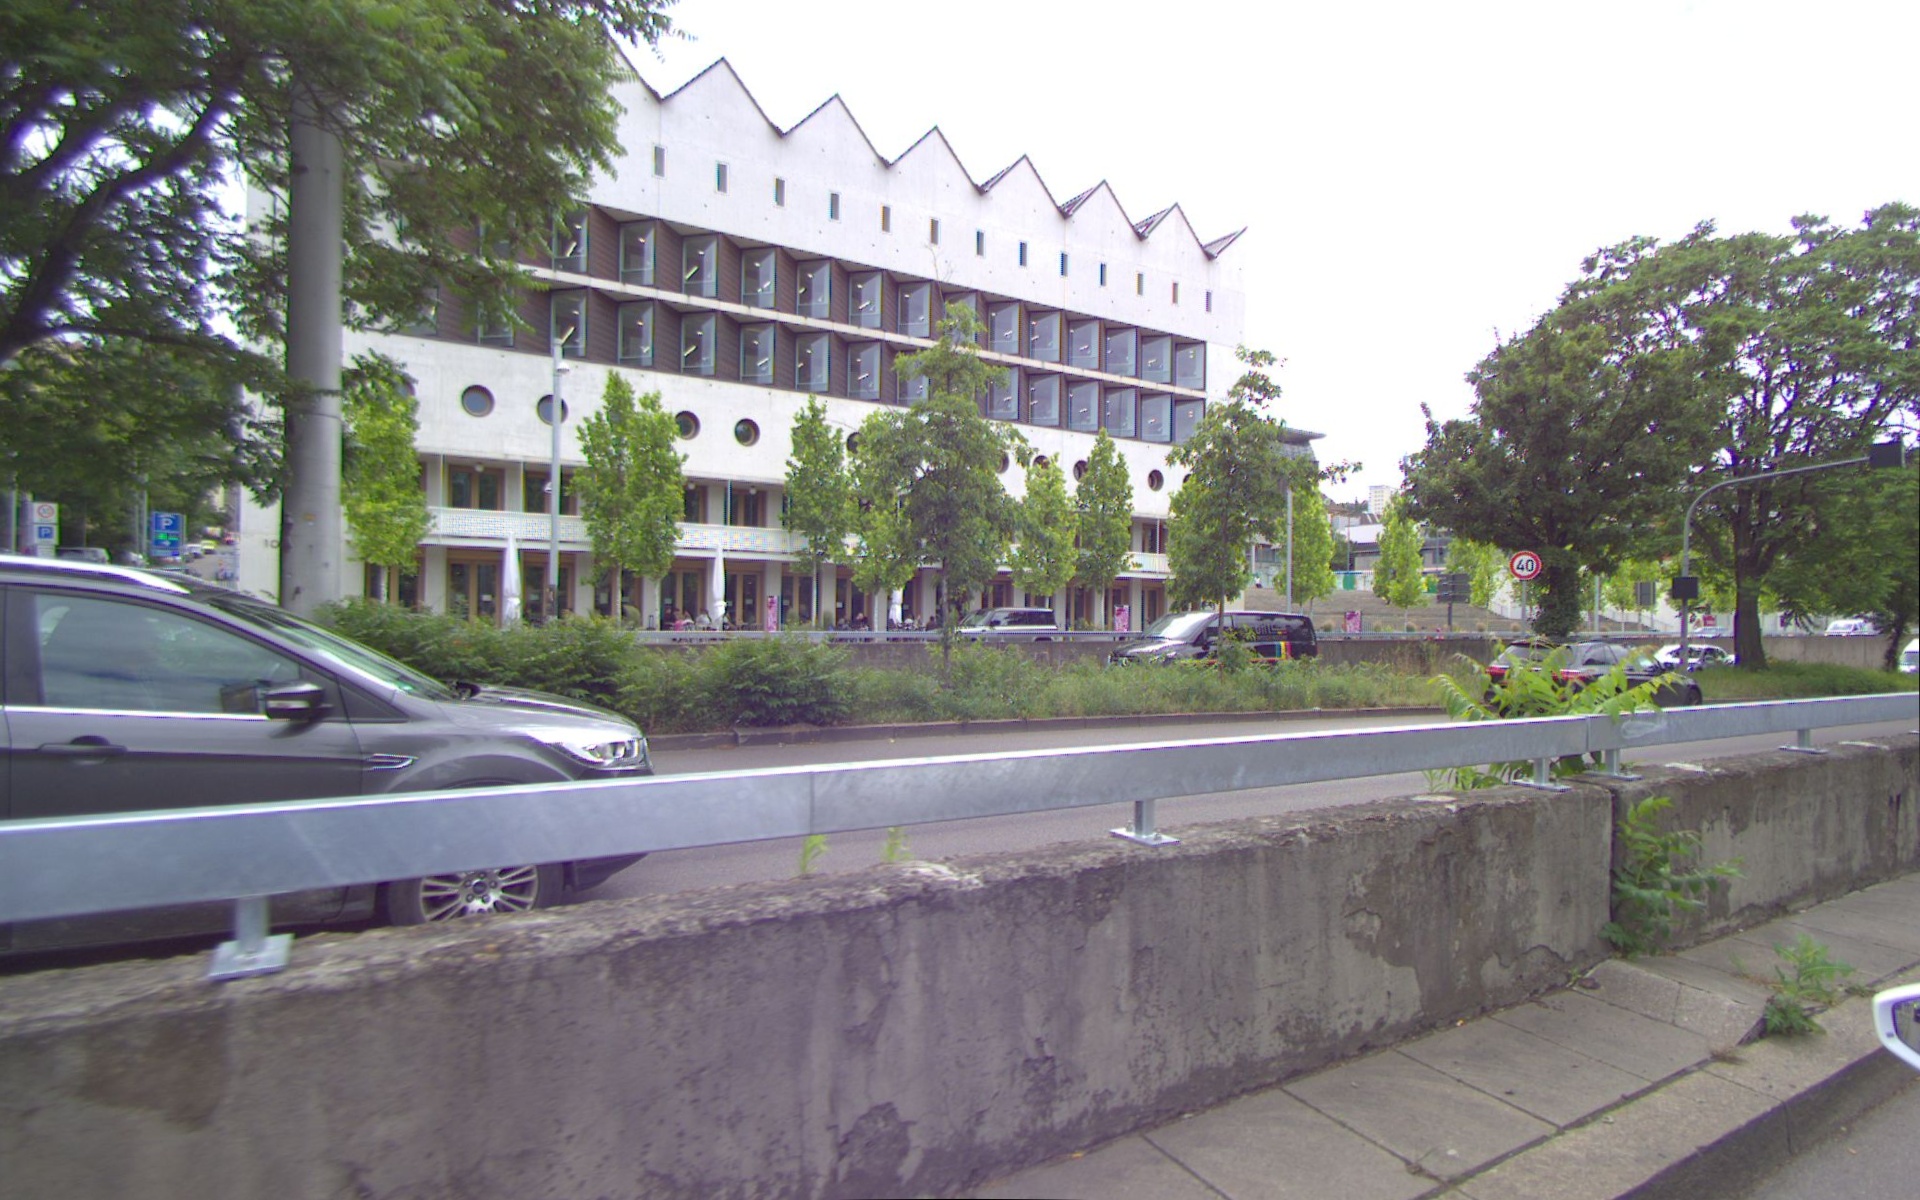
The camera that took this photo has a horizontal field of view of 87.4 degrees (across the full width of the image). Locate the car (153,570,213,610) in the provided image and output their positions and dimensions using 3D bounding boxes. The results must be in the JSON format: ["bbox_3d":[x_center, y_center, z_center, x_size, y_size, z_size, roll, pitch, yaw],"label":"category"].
[{"bbox_3d":[-42.152,-0.569,54.567,1.977,1.874,3.967,2,2,-30],"label":"car"}]

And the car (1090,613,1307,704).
[{"bbox_3d":[5.026,1.185,21.001,4.393,1.740,1.848,2,-2,-30],"label":"car"}]

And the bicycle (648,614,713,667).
[{"bbox_3d":[-9.486,1.334,33.917,1.169,1.706,3.594,1,-1,-31],"label":"bicycle"}]

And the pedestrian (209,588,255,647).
[{"bbox_3d":[-19.927,0.478,27.489,0.865,1.577,0.598,1,-1,17],"label":"pedestrian"}]

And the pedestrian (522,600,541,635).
[{"bbox_3d":[-16.834,0.697,39.450,0.559,1.344,0.516,3,-3,-30],"label":"pedestrian"}]

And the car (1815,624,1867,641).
[{"bbox_3d":[68.620,2.512,78.218,4.756,1.133,1.799,3,1,-33],"label":"car"}]

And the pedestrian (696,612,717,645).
[{"bbox_3d":[-10.403,1.163,41.287,0.657,1.345,0.790,1,0,-4],"label":"pedestrian"}]

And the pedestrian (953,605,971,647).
[{"bbox_3d":[0.087,1.265,48.922,0.623,2.040,0.629,2,-3,-30],"label":"pedestrian"}]

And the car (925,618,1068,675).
[{"bbox_3d":[1.232,1.509,32.961,4.393,1.740,1.848,2,-2,-30],"label":"car"}]

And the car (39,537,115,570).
[{"bbox_3d":[-61.819,-3.210,70.385,3.639,2.040,1.577,2,-1,-29],"label":"car"}]

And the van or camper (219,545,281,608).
[{"bbox_3d":[-41.393,-1.374,58.700,2.370,3.391,6.278,2,1,-31],"label":"van or camper"}]

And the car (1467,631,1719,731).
[{"bbox_3d":[11.277,1.389,17.808,4.808,1.479,1.803,3,0,-31],"label":"car"}]

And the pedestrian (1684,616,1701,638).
[{"bbox_3d":[55.824,2.049,76.571,0.994,1.662,0.731,1,0,-31],"label":"pedestrian"}]

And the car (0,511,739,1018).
[{"bbox_3d":[-3.510,0.558,4.398,4.604,1.738,1.884,1,0,-31],"label":"car"}]

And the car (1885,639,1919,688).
[{"bbox_3d":[46.862,3.090,48.190,6.143,2.194,1.965,3,0,-31],"label":"car"}]

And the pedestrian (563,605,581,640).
[{"bbox_3d":[-15.532,0.910,40.220,0.559,1.344,0.516,3,-3,-30],"label":"pedestrian"}]

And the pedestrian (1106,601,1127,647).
[{"bbox_3d":[7.005,1.067,44.970,0.623,2.040,0.629,2,1,-30],"label":"pedestrian"}]

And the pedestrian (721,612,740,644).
[{"bbox_3d":[-9.866,1.212,43.204,0.643,1.345,0.630,1,0,-28],"label":"pedestrian"}]

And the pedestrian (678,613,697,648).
[{"bbox_3d":[-10.967,1.247,40.419,0.622,1.344,0.651,-2,-5,-4],"label":"pedestrian"}]

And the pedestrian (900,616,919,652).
[{"bbox_3d":[-2.377,1.610,47.287,0.623,1.655,0.629,2,-1,-30],"label":"pedestrian"}]

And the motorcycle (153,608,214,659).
[{"bbox_3d":[-20.096,0.863,25.993,1.858,1.249,0.657,0,-3,35],"label":"motorcycle"}]

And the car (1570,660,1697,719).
[{"bbox_3d":[22.226,2.895,33.122,4.395,1.740,1.847,2,-2,-31],"label":"car"}]

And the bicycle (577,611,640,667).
[{"bbox_3d":[-11.371,1.225,32.386,1.169,1.706,3.594,1,-1,-31],"label":"bicycle"}]

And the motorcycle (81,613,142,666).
[{"bbox_3d":[-21.208,0.974,25.097,1.858,1.249,0.657,0,-3,35],"label":"motorcycle"}]

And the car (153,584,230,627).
[{"bbox_3d":[-28.112,0.179,36.843,1.731,1.293,3.967,2,2,-30],"label":"car"}]

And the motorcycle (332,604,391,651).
[{"bbox_3d":[-16.783,0.763,28.167,1.858,1.249,0.657,0,-3,35],"label":"motorcycle"}]
